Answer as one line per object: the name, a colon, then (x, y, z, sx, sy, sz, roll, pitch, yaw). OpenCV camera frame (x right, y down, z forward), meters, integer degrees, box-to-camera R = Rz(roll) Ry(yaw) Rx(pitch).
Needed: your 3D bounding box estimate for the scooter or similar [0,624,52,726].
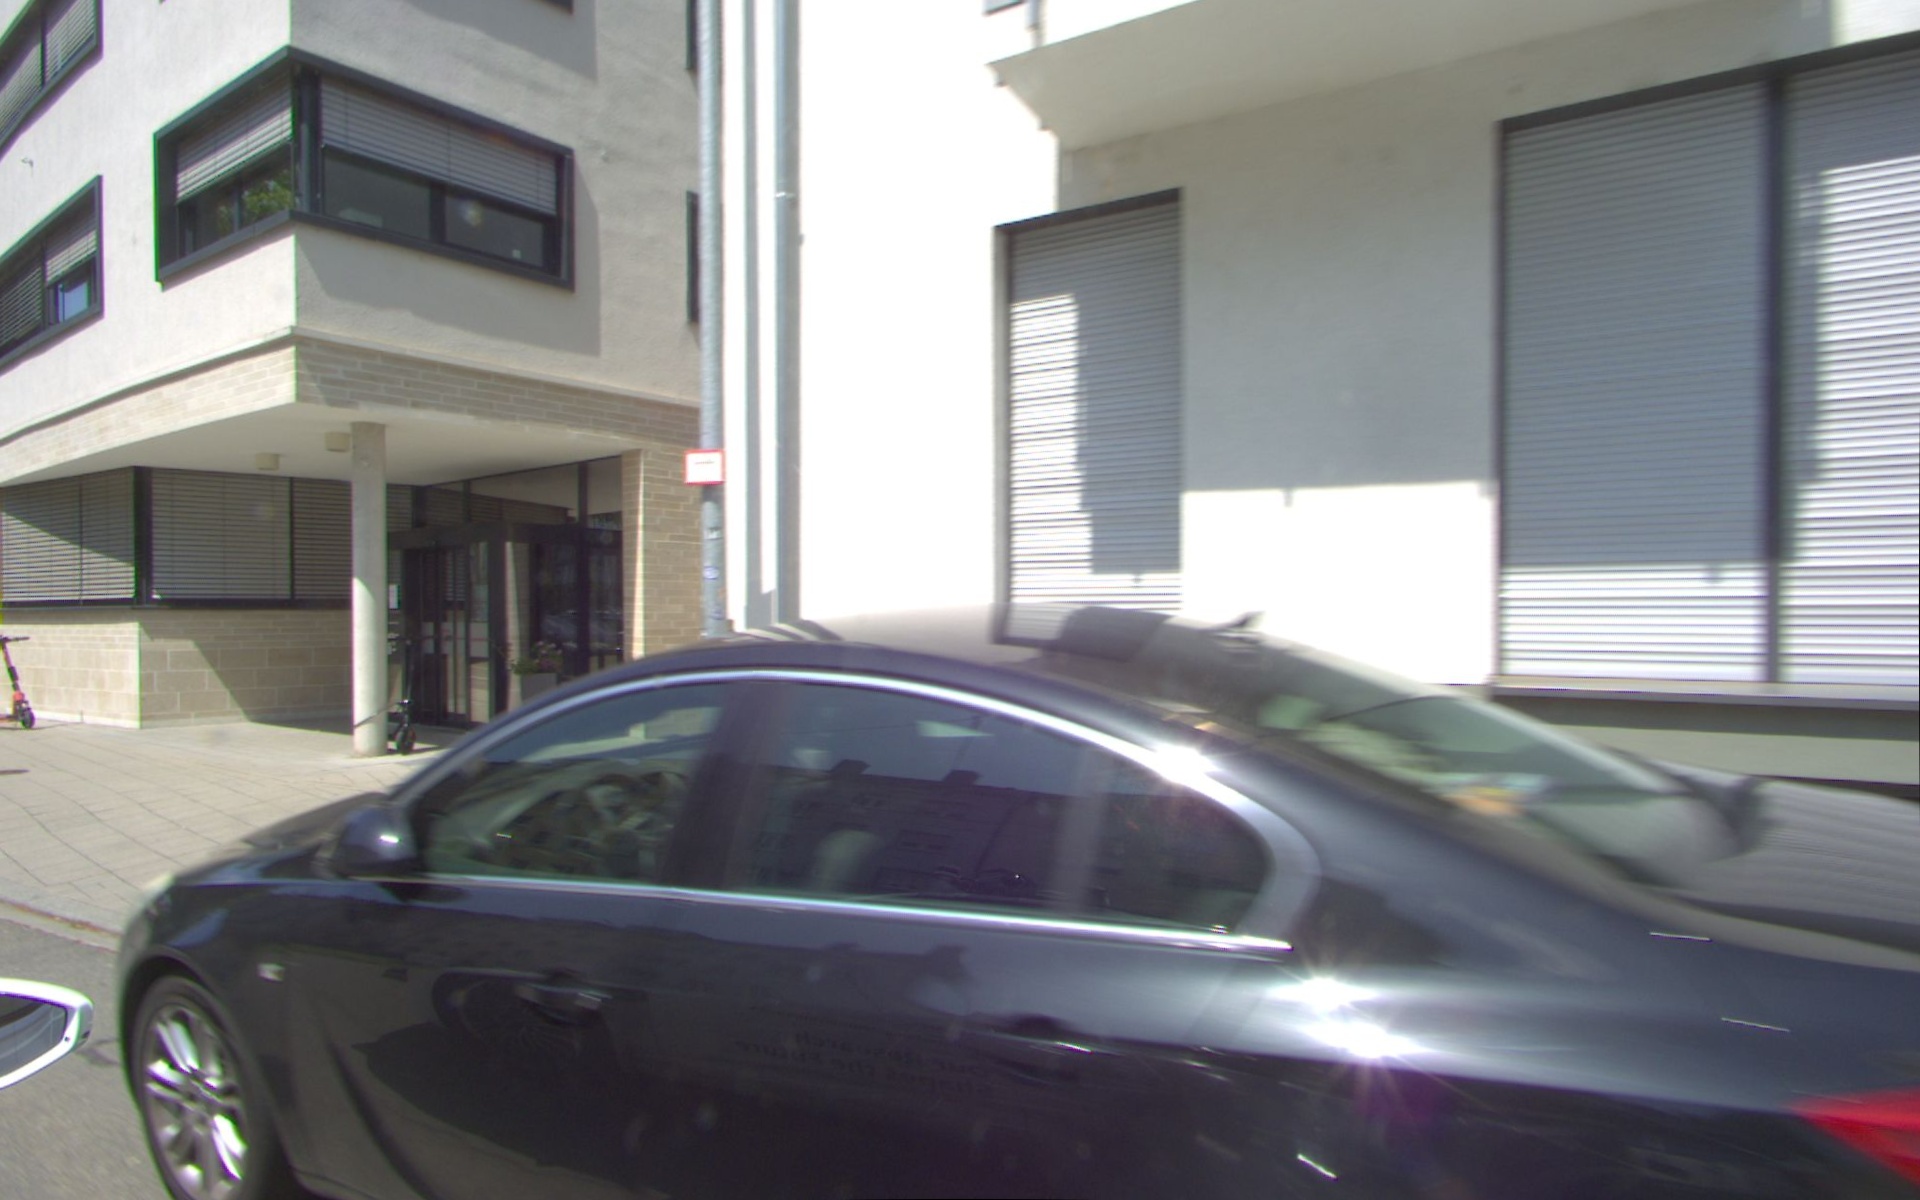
scooter or similar: (-12.713, 0.971, 13.268, 1.347, 1.278, 0.580, -1, 1, 30)

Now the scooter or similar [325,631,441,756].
scooter or similar: (-6.023, 0.943, 10.445, 1.294, 1.227, 0.422, 0, 0, 28)

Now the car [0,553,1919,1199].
car: (-0.348, 0.739, 2.578, 4.476, 1.530, 1.797, -1, 2, 27)
